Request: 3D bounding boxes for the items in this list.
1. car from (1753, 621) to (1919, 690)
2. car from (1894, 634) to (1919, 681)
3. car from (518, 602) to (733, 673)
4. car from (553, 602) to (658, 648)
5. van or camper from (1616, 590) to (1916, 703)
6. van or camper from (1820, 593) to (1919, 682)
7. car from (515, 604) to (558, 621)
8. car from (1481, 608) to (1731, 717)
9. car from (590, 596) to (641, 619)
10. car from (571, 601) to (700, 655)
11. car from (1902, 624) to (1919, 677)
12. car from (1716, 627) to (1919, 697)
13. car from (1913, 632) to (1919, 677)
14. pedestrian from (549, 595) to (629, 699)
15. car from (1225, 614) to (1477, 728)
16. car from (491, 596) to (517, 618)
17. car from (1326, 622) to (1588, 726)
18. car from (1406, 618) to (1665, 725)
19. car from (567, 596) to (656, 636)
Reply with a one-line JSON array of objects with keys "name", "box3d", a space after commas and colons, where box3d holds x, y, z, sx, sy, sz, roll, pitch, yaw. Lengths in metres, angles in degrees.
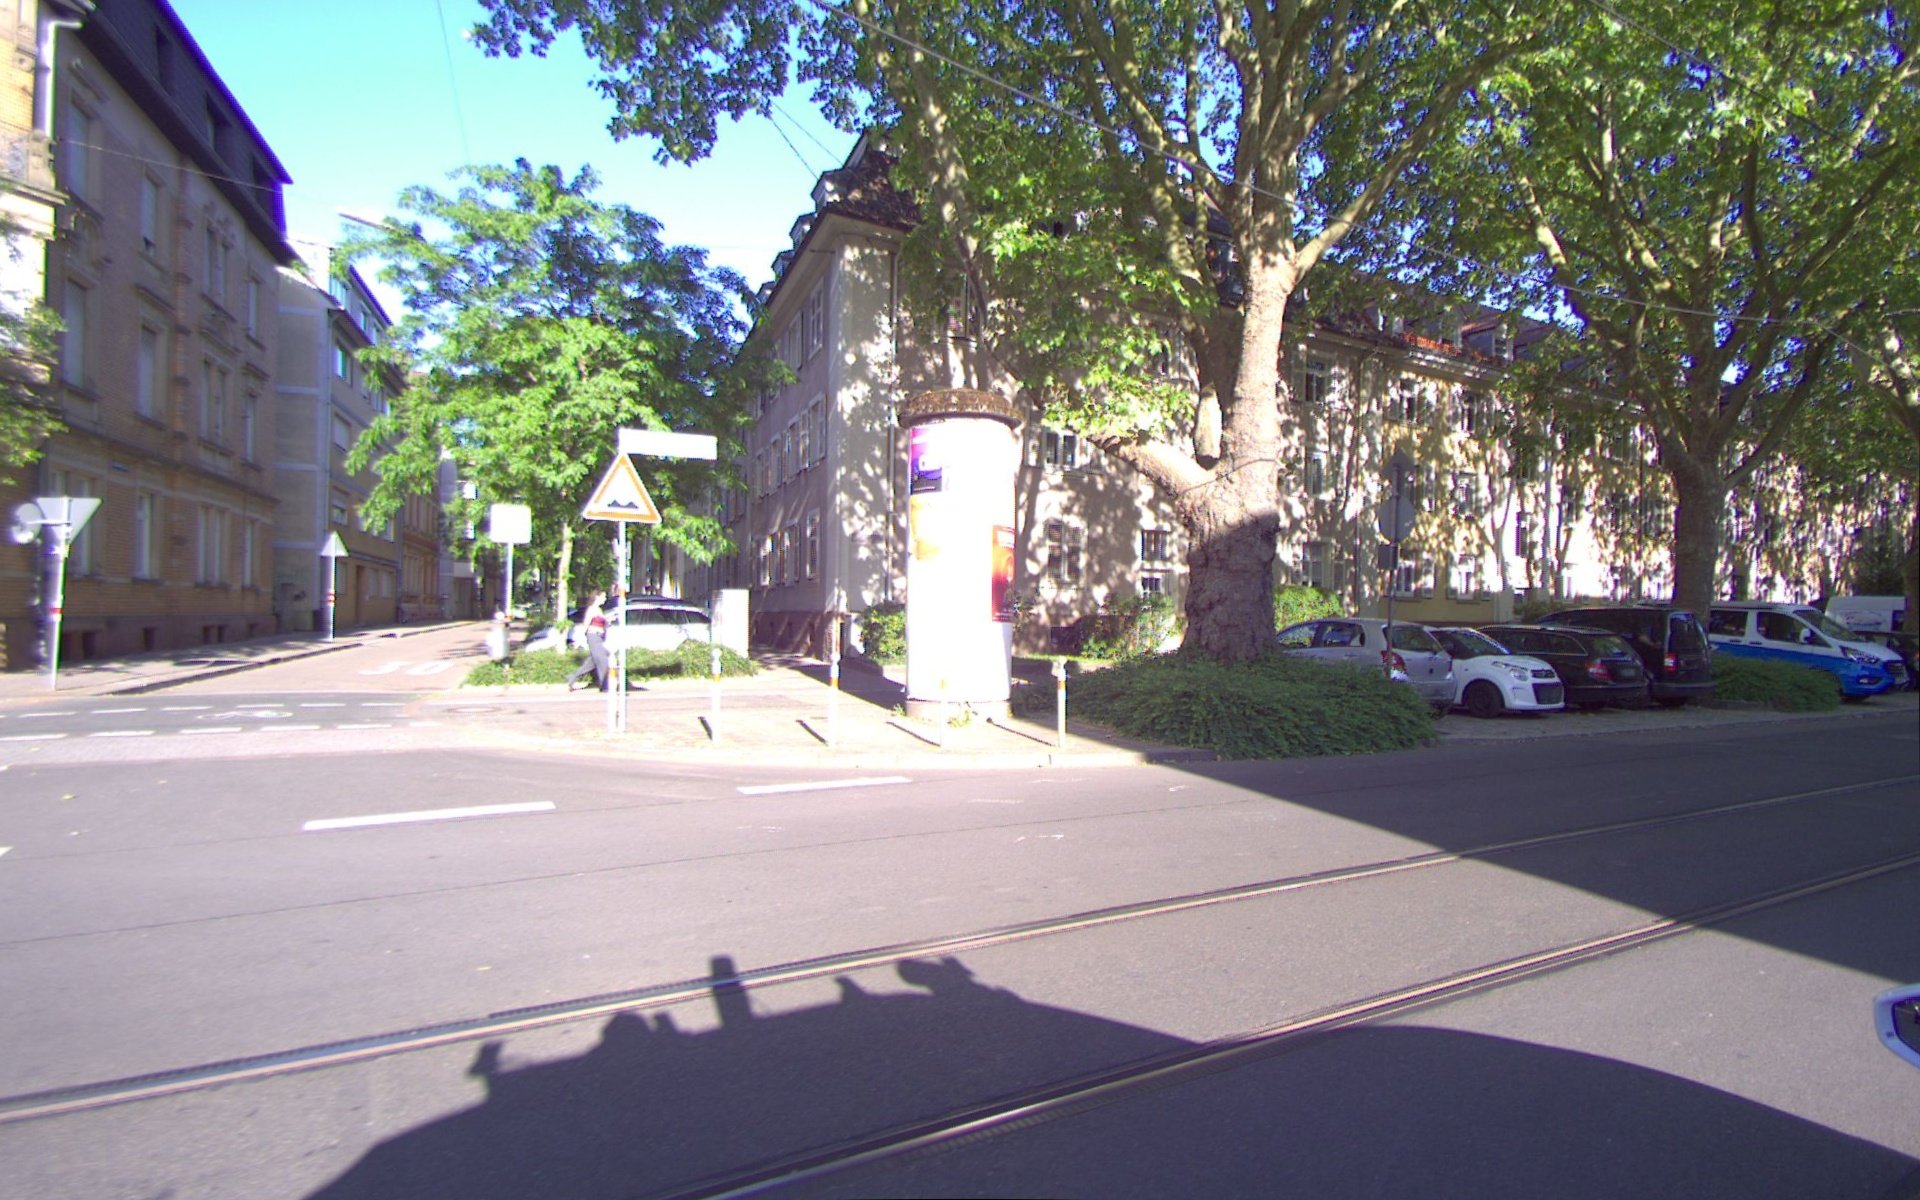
[{"name": "car", "box3d": [22.936, 1.386, 25.834, 1.592, 1.586, 3.669, 1, -1, -27]}, {"name": "car", "box3d": [30.795, 1.757, 29.762, 1.732, 1.417, 4.246, 1, -2, -29]}, {"name": "car", "box3d": [-7.687, 0.859, 23.240, 4.543, 1.516, 1.699, 1, 0, -22]}, {"name": "car", "box3d": [-12.034, 0.851, 34.121, 3.299, 1.481, 1.475, 1, 0, -22]}, {"name": "van or camper", "box3d": [17.700, 0.925, 22.329, 2.097, 2.219, 4.791, 1, -1, -33]}, {"name": "van or camper", "box3d": [28.714, 1.102, 29.015, 2.414, 2.549, 5.368, 1, -1, -28]}, {"name": "car", "box3d": [-36.254, 1.082, 86.039, 3.297, 1.418, 1.476, 1, 0, -21]}, {"name": "car", "box3d": [12.183, 1.092, 19.169, 1.684, 1.839, 3.665, 1, -1, -30]}, {"name": "car", "box3d": [-24.395, 0.546, 71.172, 3.299, 1.539, 1.475, 1, 0, -22]}, {"name": "car", "box3d": [-8.947, 0.768, 27.680, 3.299, 1.409, 1.475, 1, 0, -22]}, {"name": "car", "box3d": [32.332, 1.617, 31.424, 1.840, 1.685, 3.831, 1, -2, -29]}, {"name": "car", "box3d": [20.870, 1.459, 24.544, 1.680, 1.479, 3.505, 1, -1, -36]}, {"name": "car", "box3d": [34.126, 1.824, 32.916, 1.840, 1.517, 3.831, 1, -2, -29]}, {"name": "pedestrian", "box3d": [-5.960, 0.740, 16.217, 1.008, 1.598, 1.093, 2, 0, -12]}, {"name": "car", "box3d": [6.140, 1.046, 16.203, 1.680, 1.574, 3.672, 1, -1, -24]}, {"name": "car", "box3d": [-33.654, 0.525, 74.097, 1.460, 1.539, 3.050, 1, 0, -20]}, {"name": "car", "box3d": [8.364, 1.167, 17.170, 1.685, 1.505, 3.657, 1, -1, -36]}, {"name": "car", "box3d": [10.254, 1.190, 18.129, 1.781, 1.646, 3.659, 1, -1, -34]}, {"name": "car", "box3d": [-14.066, 0.633, 40.521, 3.299, 1.539, 1.475, 1, 0, -22]}]
